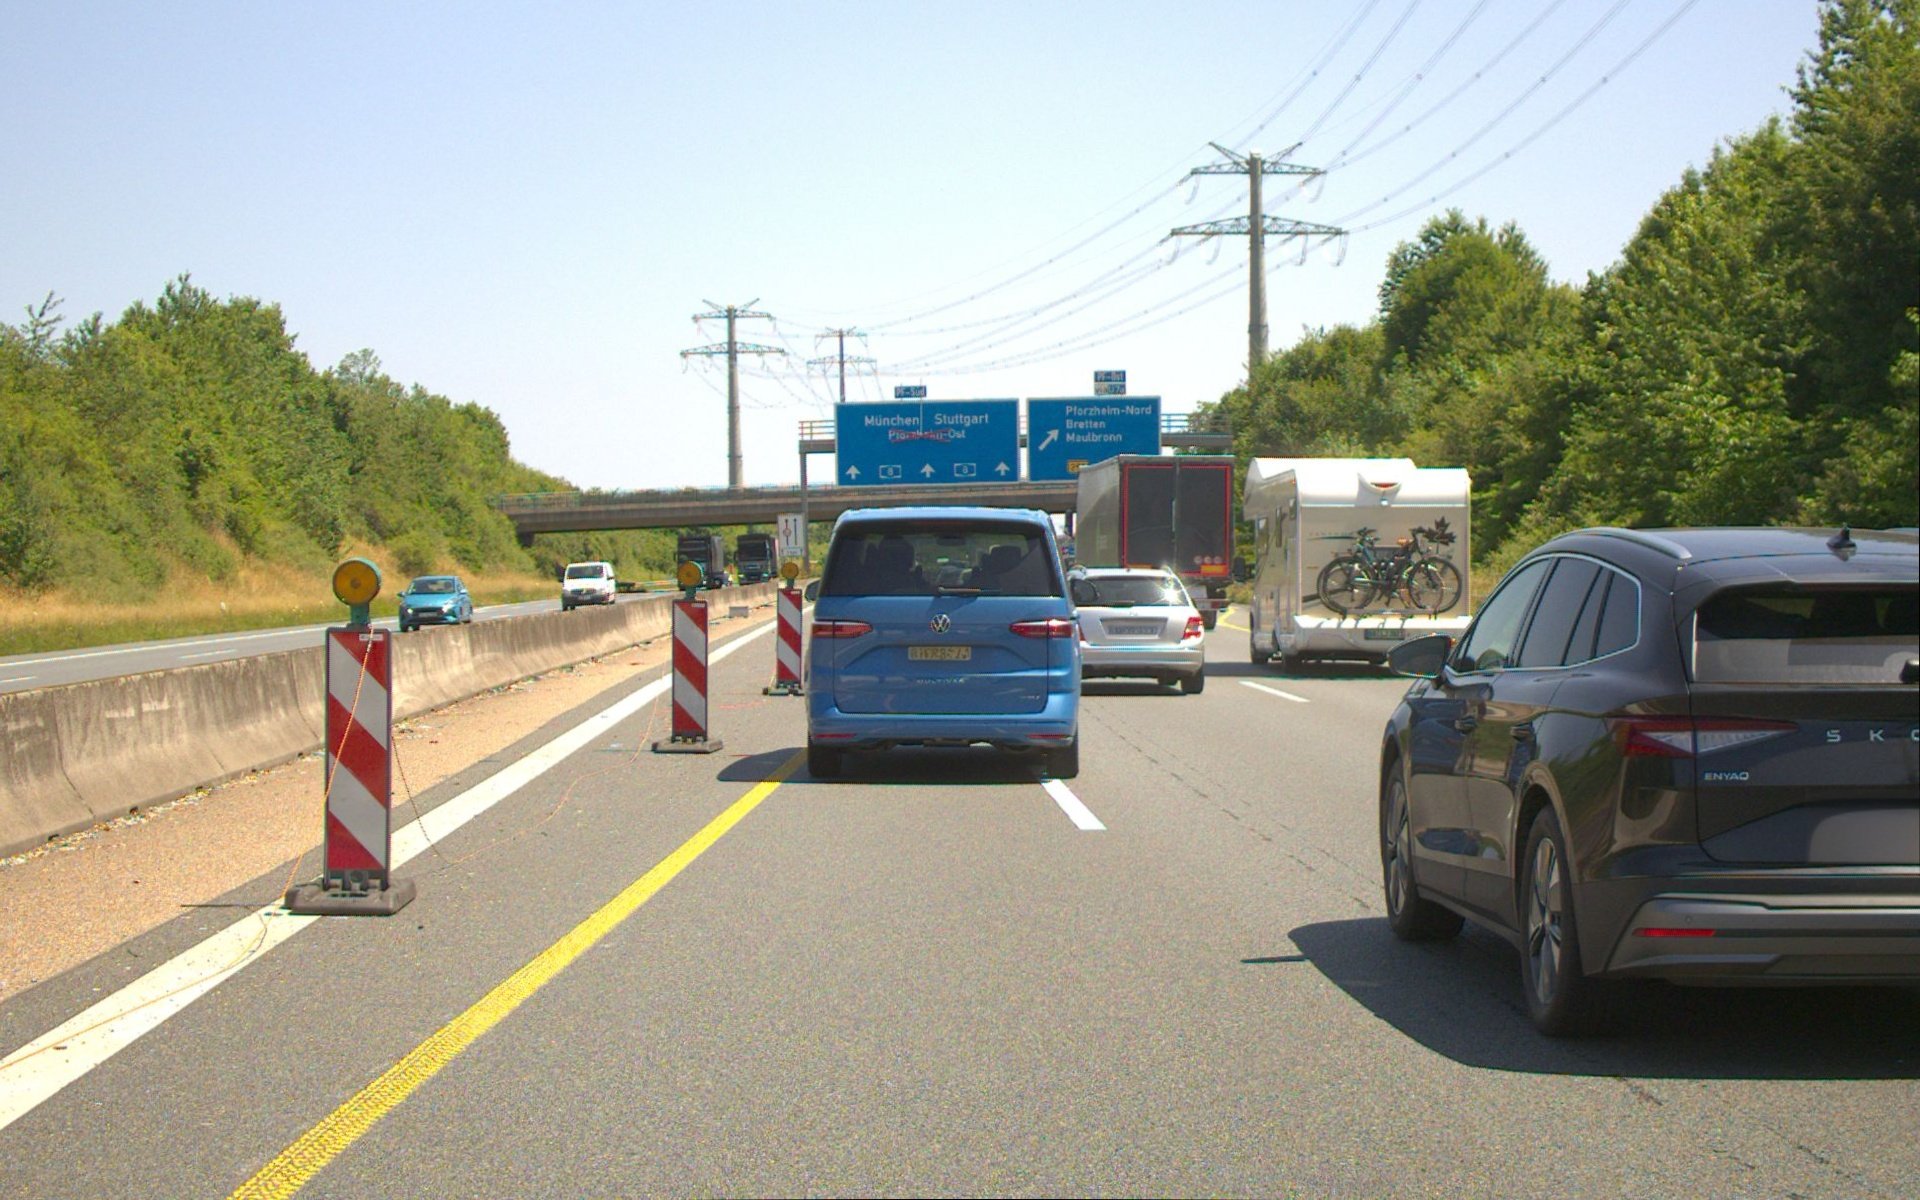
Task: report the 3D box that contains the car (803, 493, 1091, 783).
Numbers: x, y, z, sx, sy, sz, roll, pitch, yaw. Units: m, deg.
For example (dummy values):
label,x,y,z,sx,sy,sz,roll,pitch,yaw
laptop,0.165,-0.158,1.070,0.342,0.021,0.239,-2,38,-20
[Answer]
label,x,y,z,sx,sy,sz,roll,pitch,yaw
car,-0.184,0.231,25.051,1.874,1.905,4.360,1,1,-3

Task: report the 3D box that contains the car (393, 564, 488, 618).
label,x,y,z,sx,sy,sz,roll,pitch,yaw
car,-14.395,-0.272,95.498,1.993,1.393,4.000,-2,1,0

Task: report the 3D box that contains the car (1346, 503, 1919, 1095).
label,x,y,z,sx,sy,sz,roll,pitch,yaw
car,2.551,0.541,11.876,1.700,1.649,4.430,1,1,-3

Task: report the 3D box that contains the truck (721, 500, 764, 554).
label,x,y,z,sx,sy,sz,roll,pitch,yaw
truck,-16.287,-5.442,257.770,2.722,3.905,6.778,1,1,0

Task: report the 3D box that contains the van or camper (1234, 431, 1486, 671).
label,x,y,z,sx,sy,sz,roll,pitch,yaw
van or camper,5.401,-0.668,47.664,2.369,3.033,7.633,1,1,-1

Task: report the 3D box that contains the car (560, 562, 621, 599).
label,x,y,z,sx,sy,sz,roll,pitch,yaw
car,-14.886,-0.782,138.659,1.993,1.393,4.000,-2,1,0

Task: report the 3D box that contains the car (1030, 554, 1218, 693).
label,x,y,z,sx,sy,sz,roll,pitch,yaw
car,1.860,0.232,40.230,1.770,1.512,4.360,1,1,-3

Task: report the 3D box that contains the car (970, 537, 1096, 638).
label,x,y,z,sx,sy,sz,roll,pitch,yaw
car,1.235,-0.234,59.867,1.874,1.665,4.360,1,1,-3

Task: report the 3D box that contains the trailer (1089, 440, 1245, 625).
label,x,y,z,sx,sy,sz,roll,pitch,yaw
trailer,4.796,-1.549,82.197,2.783,4.033,13.112,1,1,0

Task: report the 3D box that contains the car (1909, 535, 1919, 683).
label,x,y,z,sx,sy,sz,roll,pitch,yaw
car,11.848,0.134,36.950,1.874,1.665,4.360,1,1,-3
